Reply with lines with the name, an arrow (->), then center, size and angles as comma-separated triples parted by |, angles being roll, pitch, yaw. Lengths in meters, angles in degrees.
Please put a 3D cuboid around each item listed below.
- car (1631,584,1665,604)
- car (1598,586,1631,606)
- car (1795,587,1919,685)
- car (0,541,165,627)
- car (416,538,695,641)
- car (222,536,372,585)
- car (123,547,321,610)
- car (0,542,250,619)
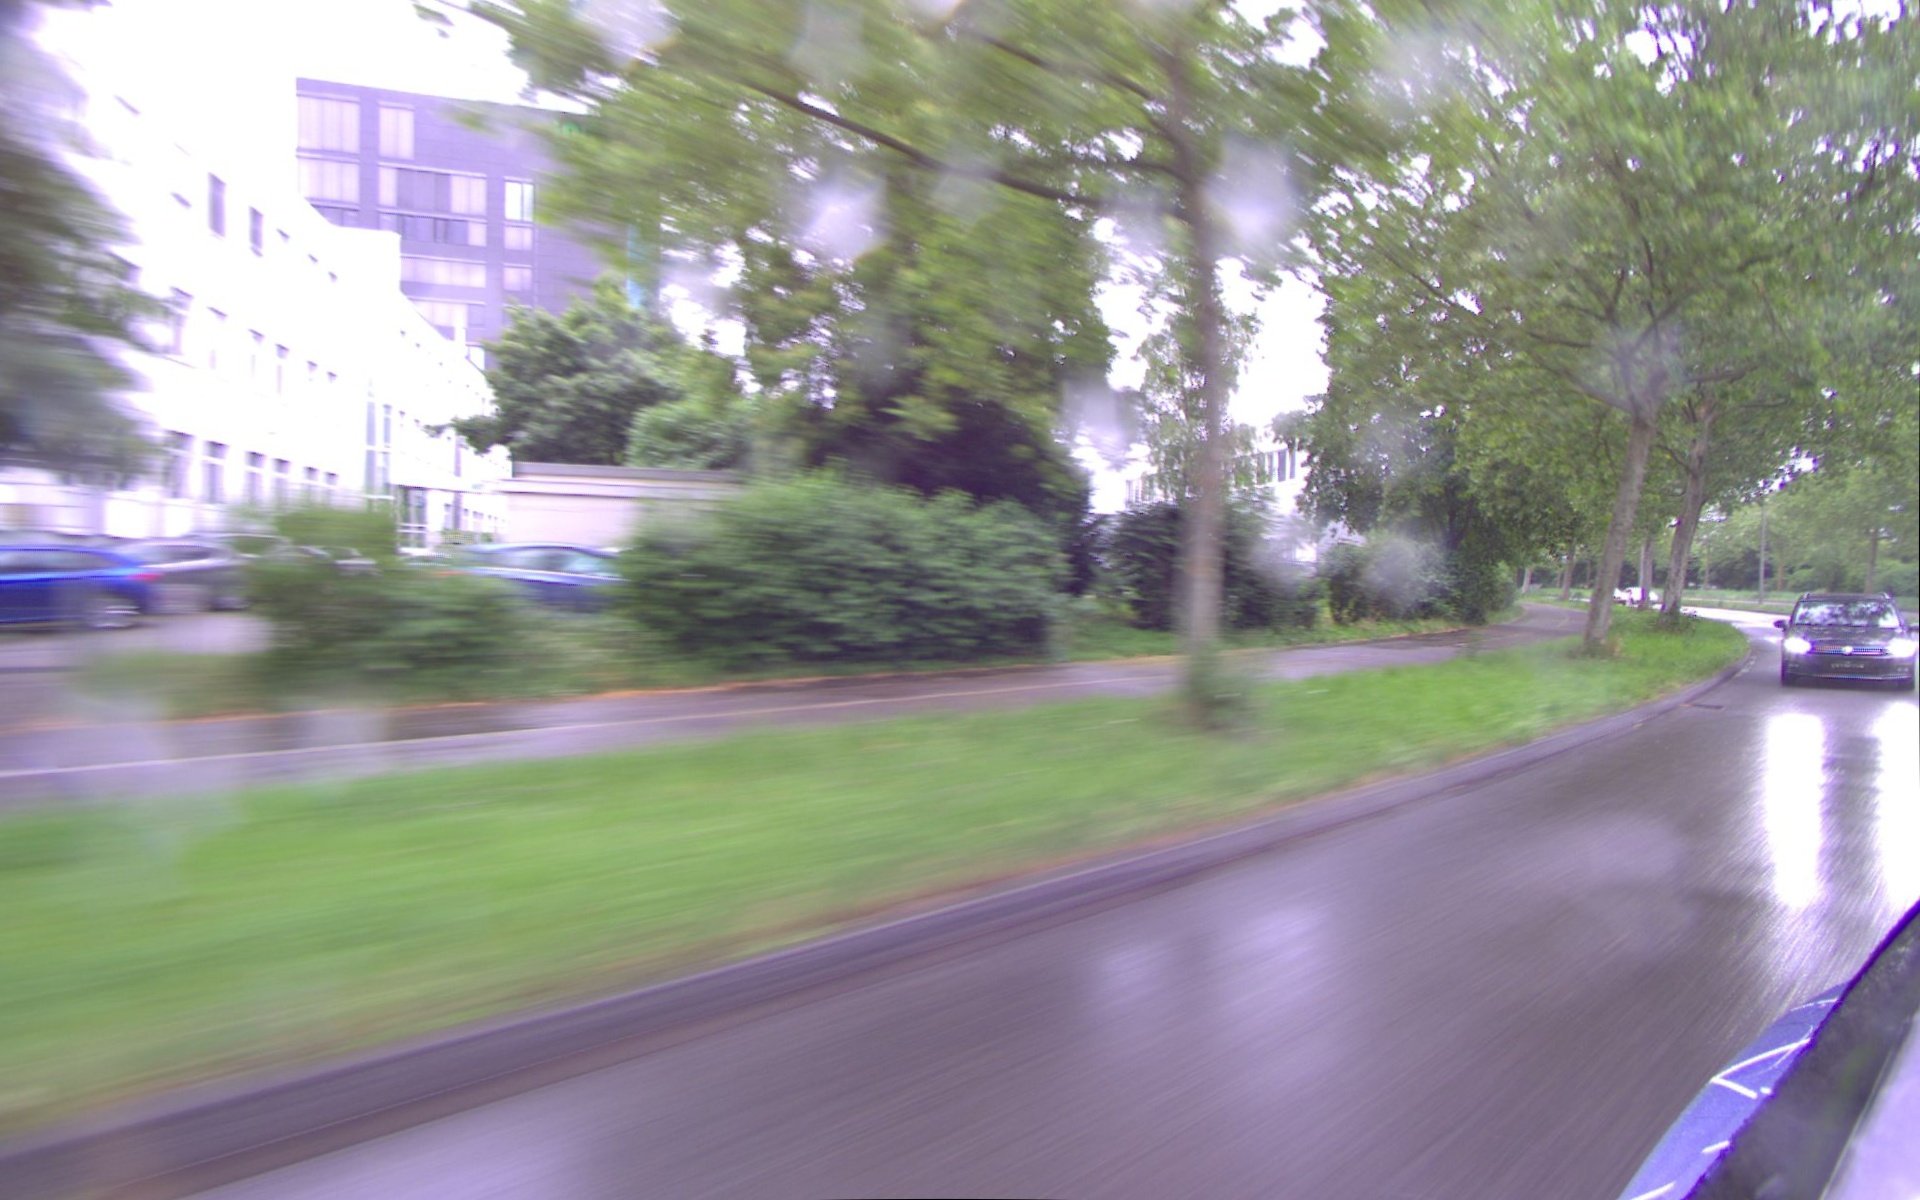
car -> 58.535, -0.518, 86.152 | 1.767, 1.575, 3.965 | 1, 1, 26
car -> 54.298, -0.333, 84.051 | 1.767, 1.575, 3.965 | 1, 1, 25
car -> 16.368, 0.572, 18.317 | 1.778, 1.575, 3.939 | -1, 0, 42
car -> -15.789, -0.262, 16.913 | 1.587, 1.375, 3.660 | 0, 1, 35
car -> -5.896, -0.145, 14.970 | 3.629, 1.375, 1.601 | 0, 0, -23
car -> -19.906, -1.153, 30.450 | 3.640, 1.375, 1.597 | 0, 0, -39
car -> -17.233, -0.480, 23.738 | 3.640, 1.375, 1.597 | 0, 0, -39
car -> -16.428, -0.359, 19.960 | 1.587, 1.375, 3.660 | 0, 1, 35
